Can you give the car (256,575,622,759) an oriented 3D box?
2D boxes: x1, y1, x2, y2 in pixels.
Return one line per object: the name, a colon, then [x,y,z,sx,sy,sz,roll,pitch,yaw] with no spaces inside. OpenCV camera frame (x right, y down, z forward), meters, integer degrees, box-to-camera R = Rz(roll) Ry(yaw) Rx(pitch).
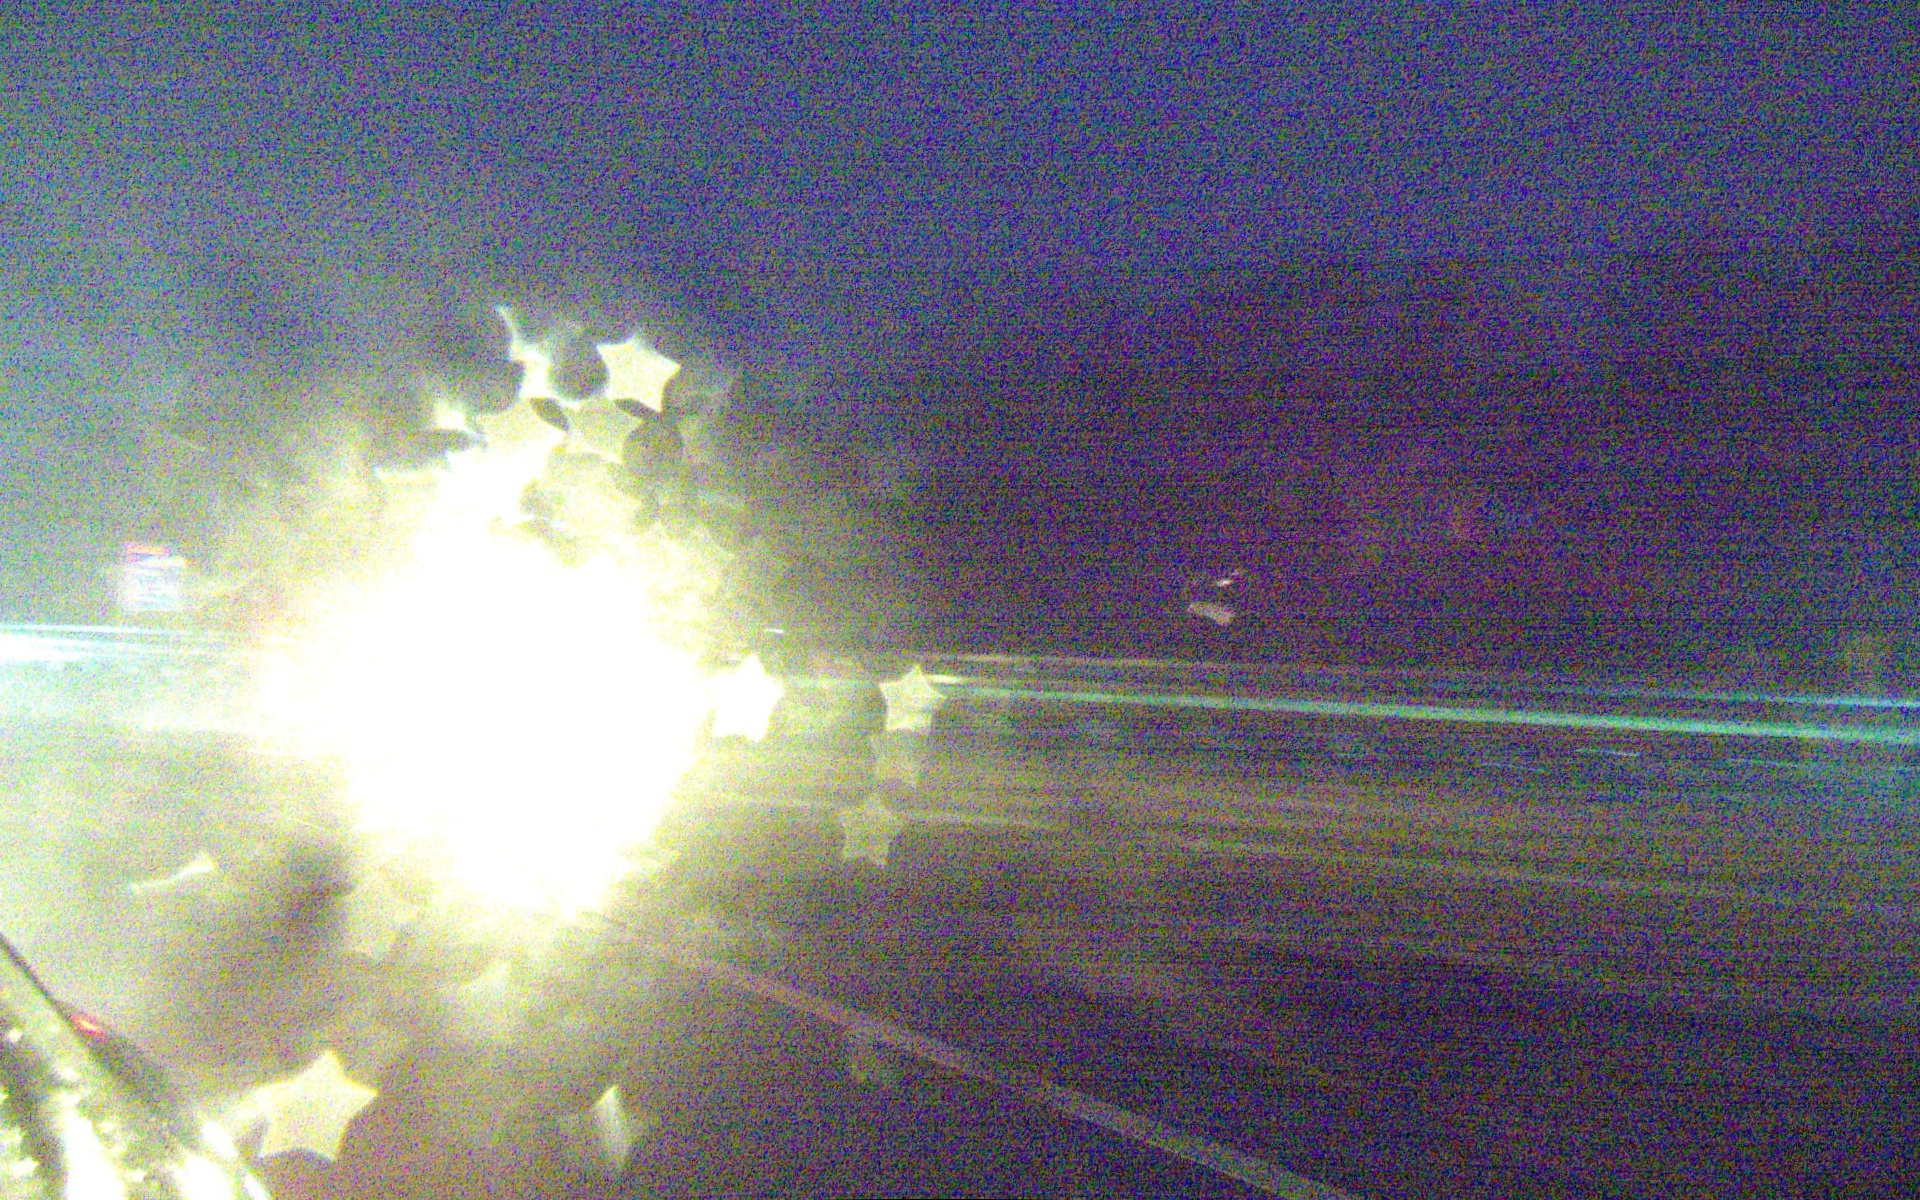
car: [-6.846,0.805,13.308,4.434,2.121,1.742,1,-4,23]
